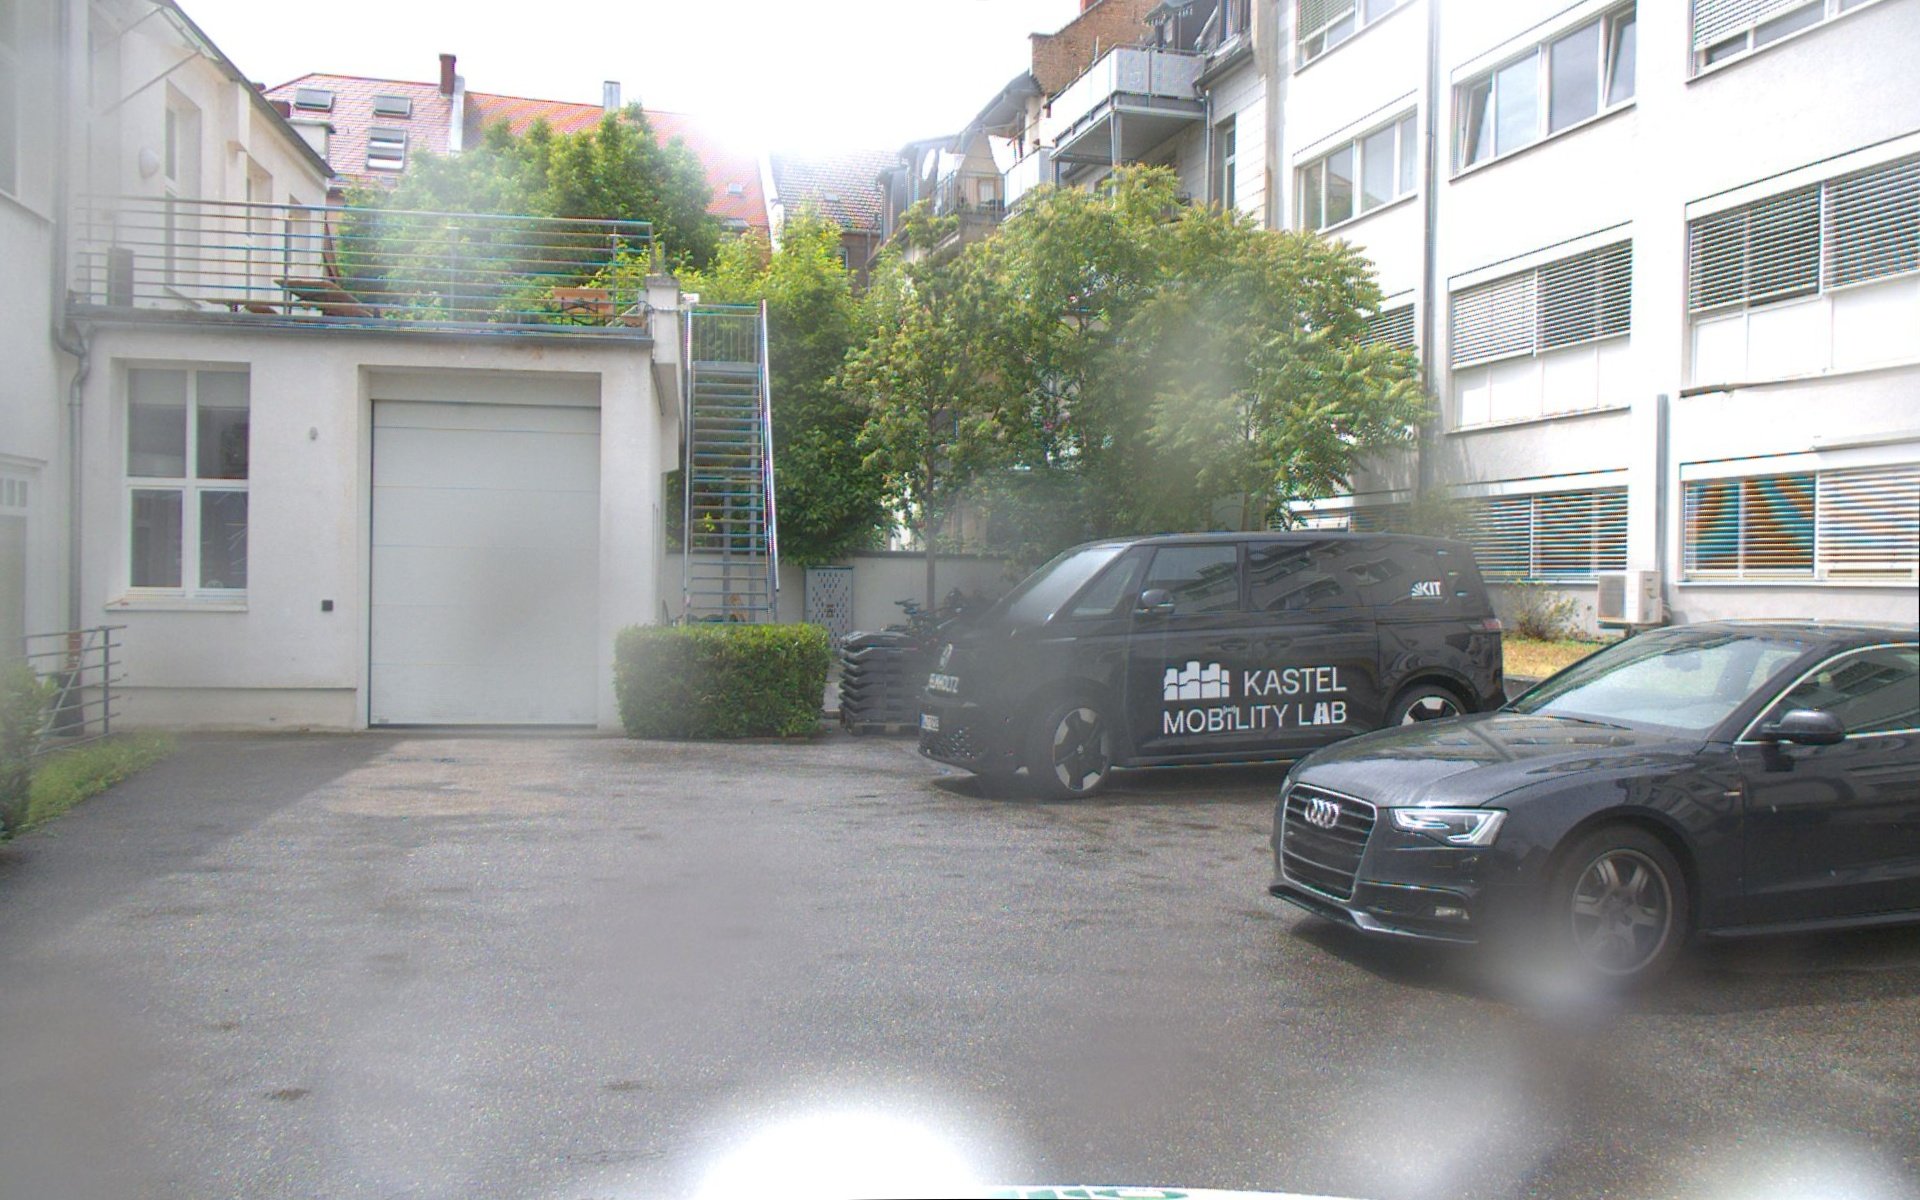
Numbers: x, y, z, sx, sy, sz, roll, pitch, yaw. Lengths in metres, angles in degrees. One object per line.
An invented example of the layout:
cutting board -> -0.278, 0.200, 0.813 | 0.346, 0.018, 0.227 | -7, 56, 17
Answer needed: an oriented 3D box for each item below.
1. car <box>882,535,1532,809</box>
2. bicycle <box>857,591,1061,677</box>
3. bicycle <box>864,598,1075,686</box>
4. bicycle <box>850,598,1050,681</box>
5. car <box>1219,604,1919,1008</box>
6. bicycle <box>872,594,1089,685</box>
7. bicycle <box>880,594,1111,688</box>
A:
car -> 1.878, 0.451, 12.995 | 4.634, 1.865, 2.101 | -1, 1, -17
bicycle -> -0.017, 0.481, 23.466 | 2.794, 1.097, 0.687 | 2, 1, -13
bicycle -> 0.128, 0.585, 22.770 | 2.794, 1.097, 0.687 | 2, 1, -13
bicycle -> -0.147, 0.574, 24.056 | 2.794, 1.097, 0.687 | 2, 1, -13
car -> 3.506, 0.736, 7.398 | 4.284, 1.372, 1.852 | 0, 1, -17
bicycle -> 0.273, 0.528, 22.062 | 2.794, 1.097, 0.687 | 2, 1, -13
bicycle -> 0.456, 0.528, 21.306 | 2.873, 1.097, 0.687 | 2, 1, -13
